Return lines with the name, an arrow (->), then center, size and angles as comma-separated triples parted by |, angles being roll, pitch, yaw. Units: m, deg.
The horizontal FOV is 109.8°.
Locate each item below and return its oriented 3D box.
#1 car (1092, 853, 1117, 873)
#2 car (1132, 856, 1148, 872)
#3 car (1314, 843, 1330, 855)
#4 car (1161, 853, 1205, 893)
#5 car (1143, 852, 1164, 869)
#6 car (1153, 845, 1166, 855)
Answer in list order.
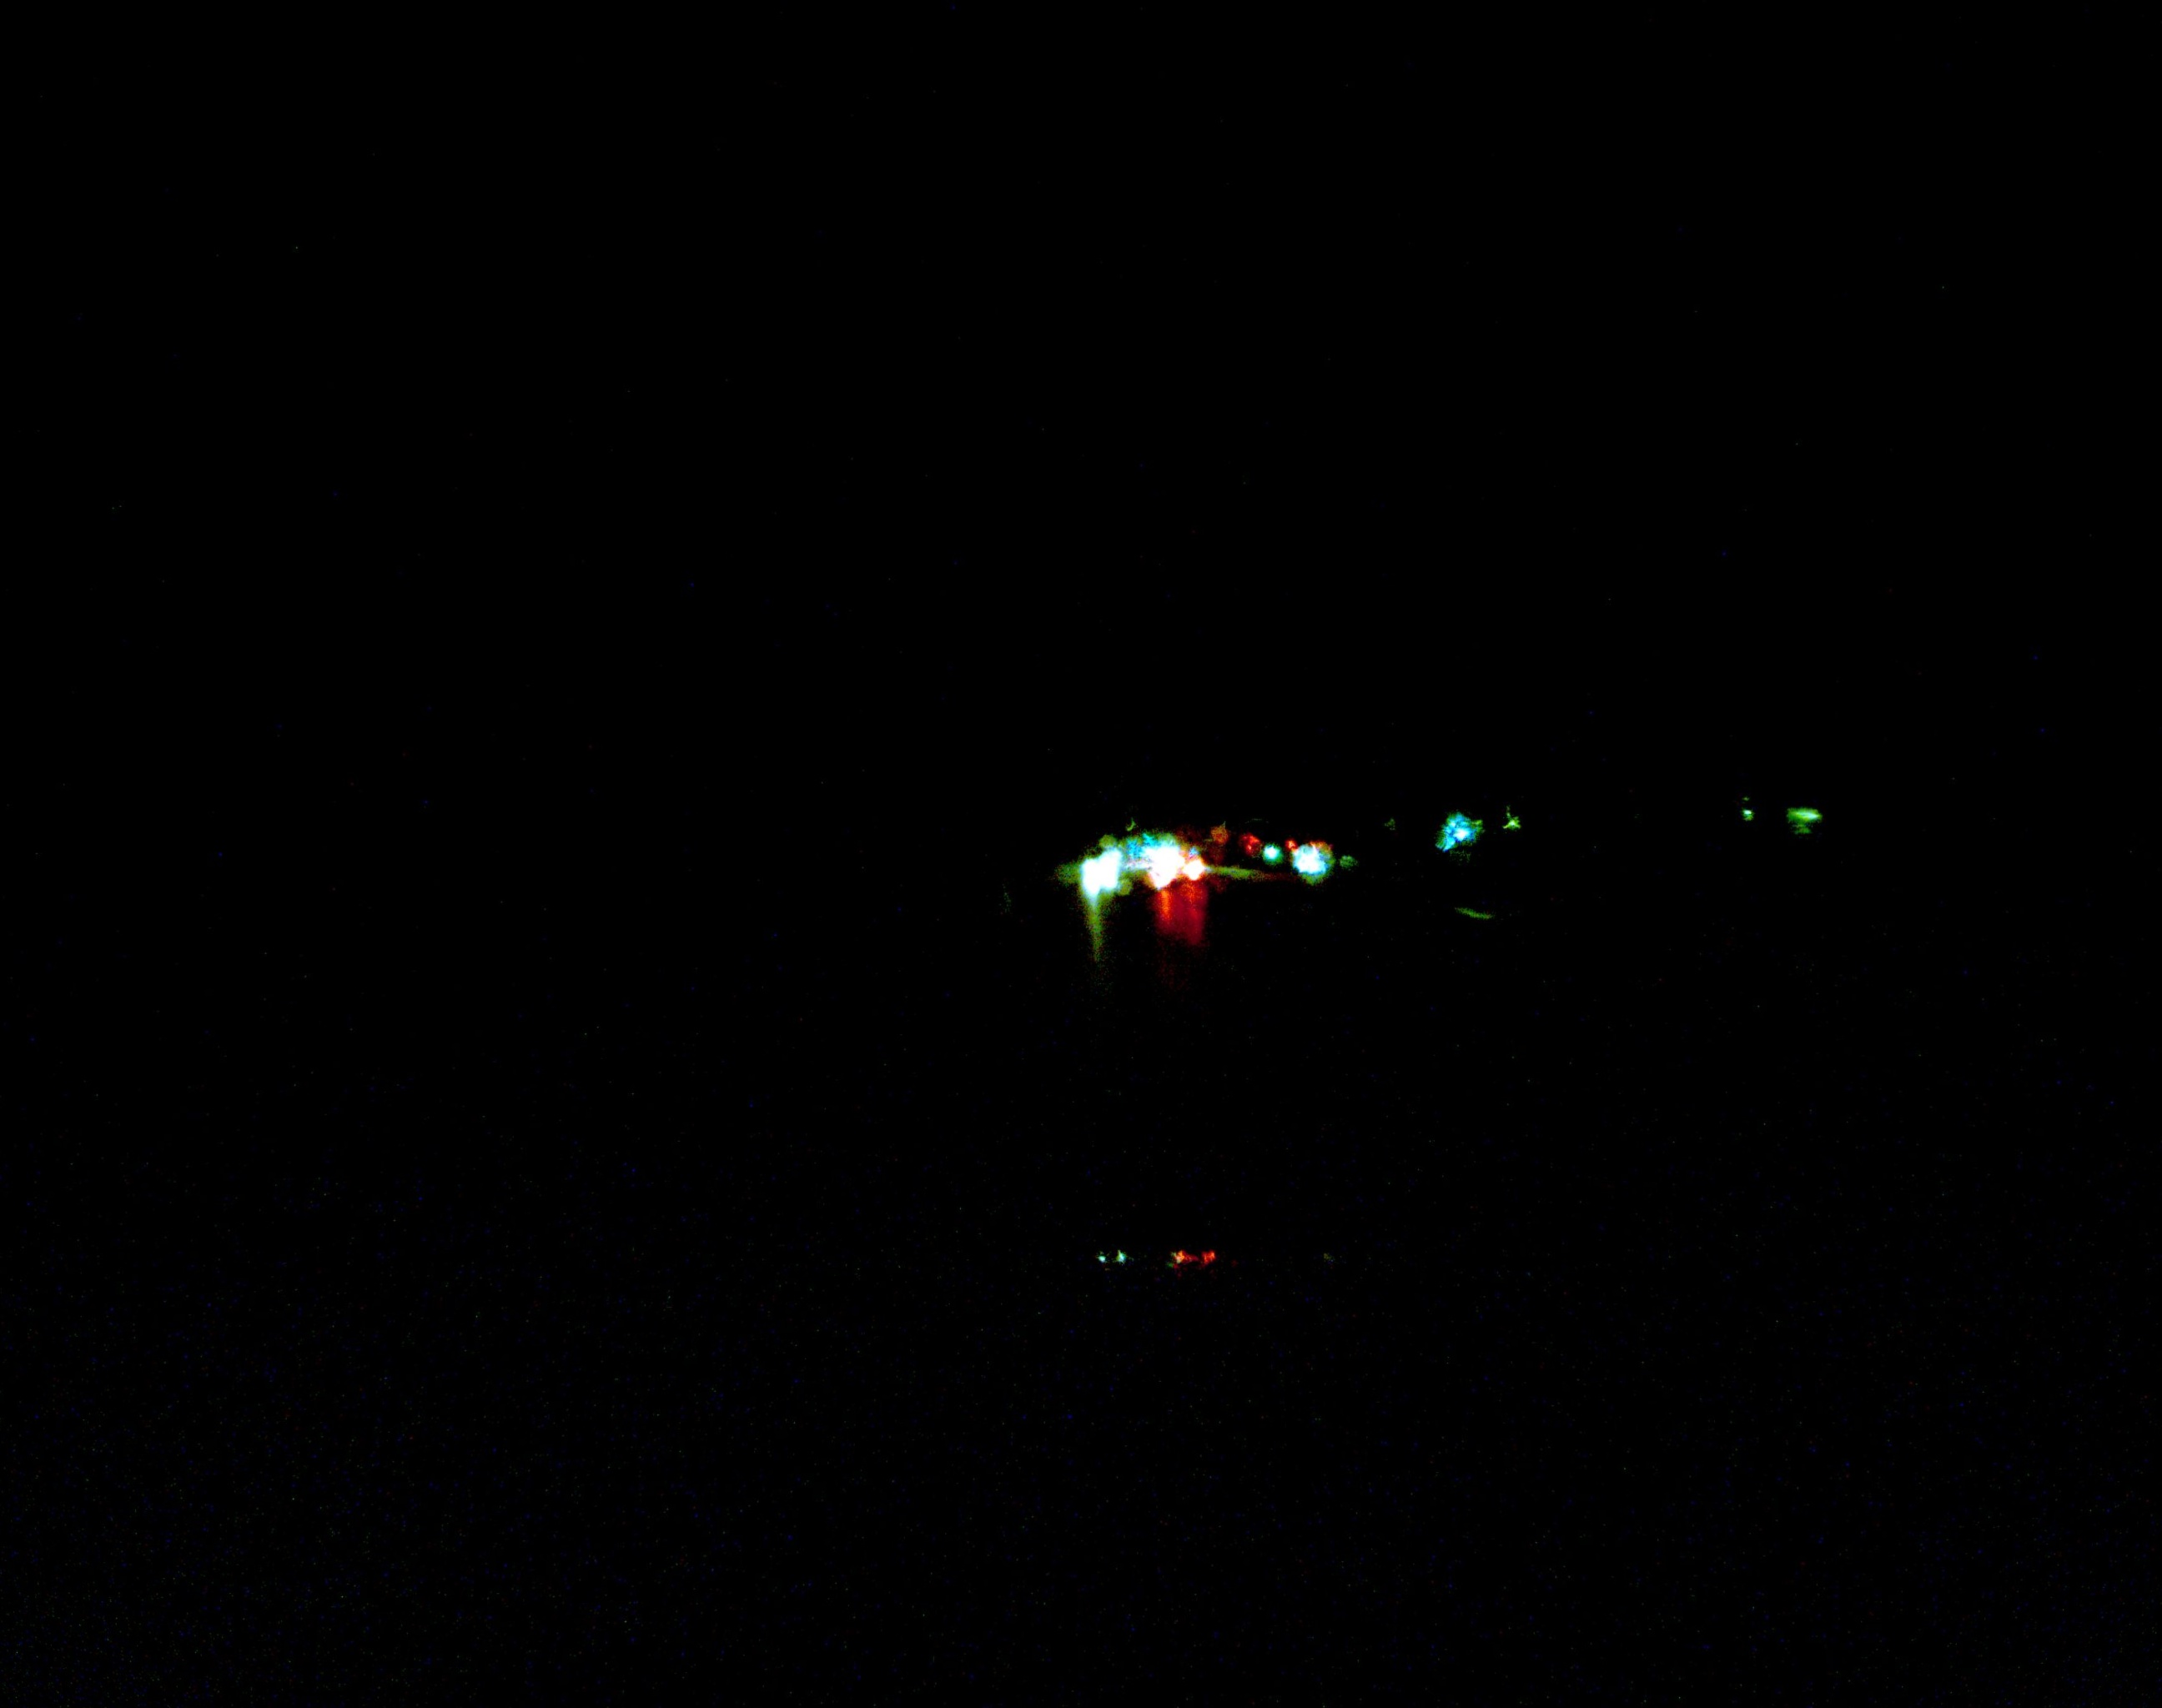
car -> 2.094, 0.745, 67.294 | 1.877, 1.578, 4.890 | -3, 1, 5
car -> 6.703, 1.130, 86.241 | 1.658, 1.673, 4.521 | -2, 0, 3
car -> 49.619, -1.089, 156.685 | 1.997, 2.294, 6.024 | -2, 0, 7
car -> 4.473, 0.804, 33.822 | 1.487, 1.606, 3.561 | -4, 0, 2
car -> 7.009, 0.590, 73.955 | 1.697, 1.511, 3.862 | -2, 0, 1
car -> 11.898, -0.551, 114.917 | 1.807, 1.375, 4.774 | -2, 0, 7
